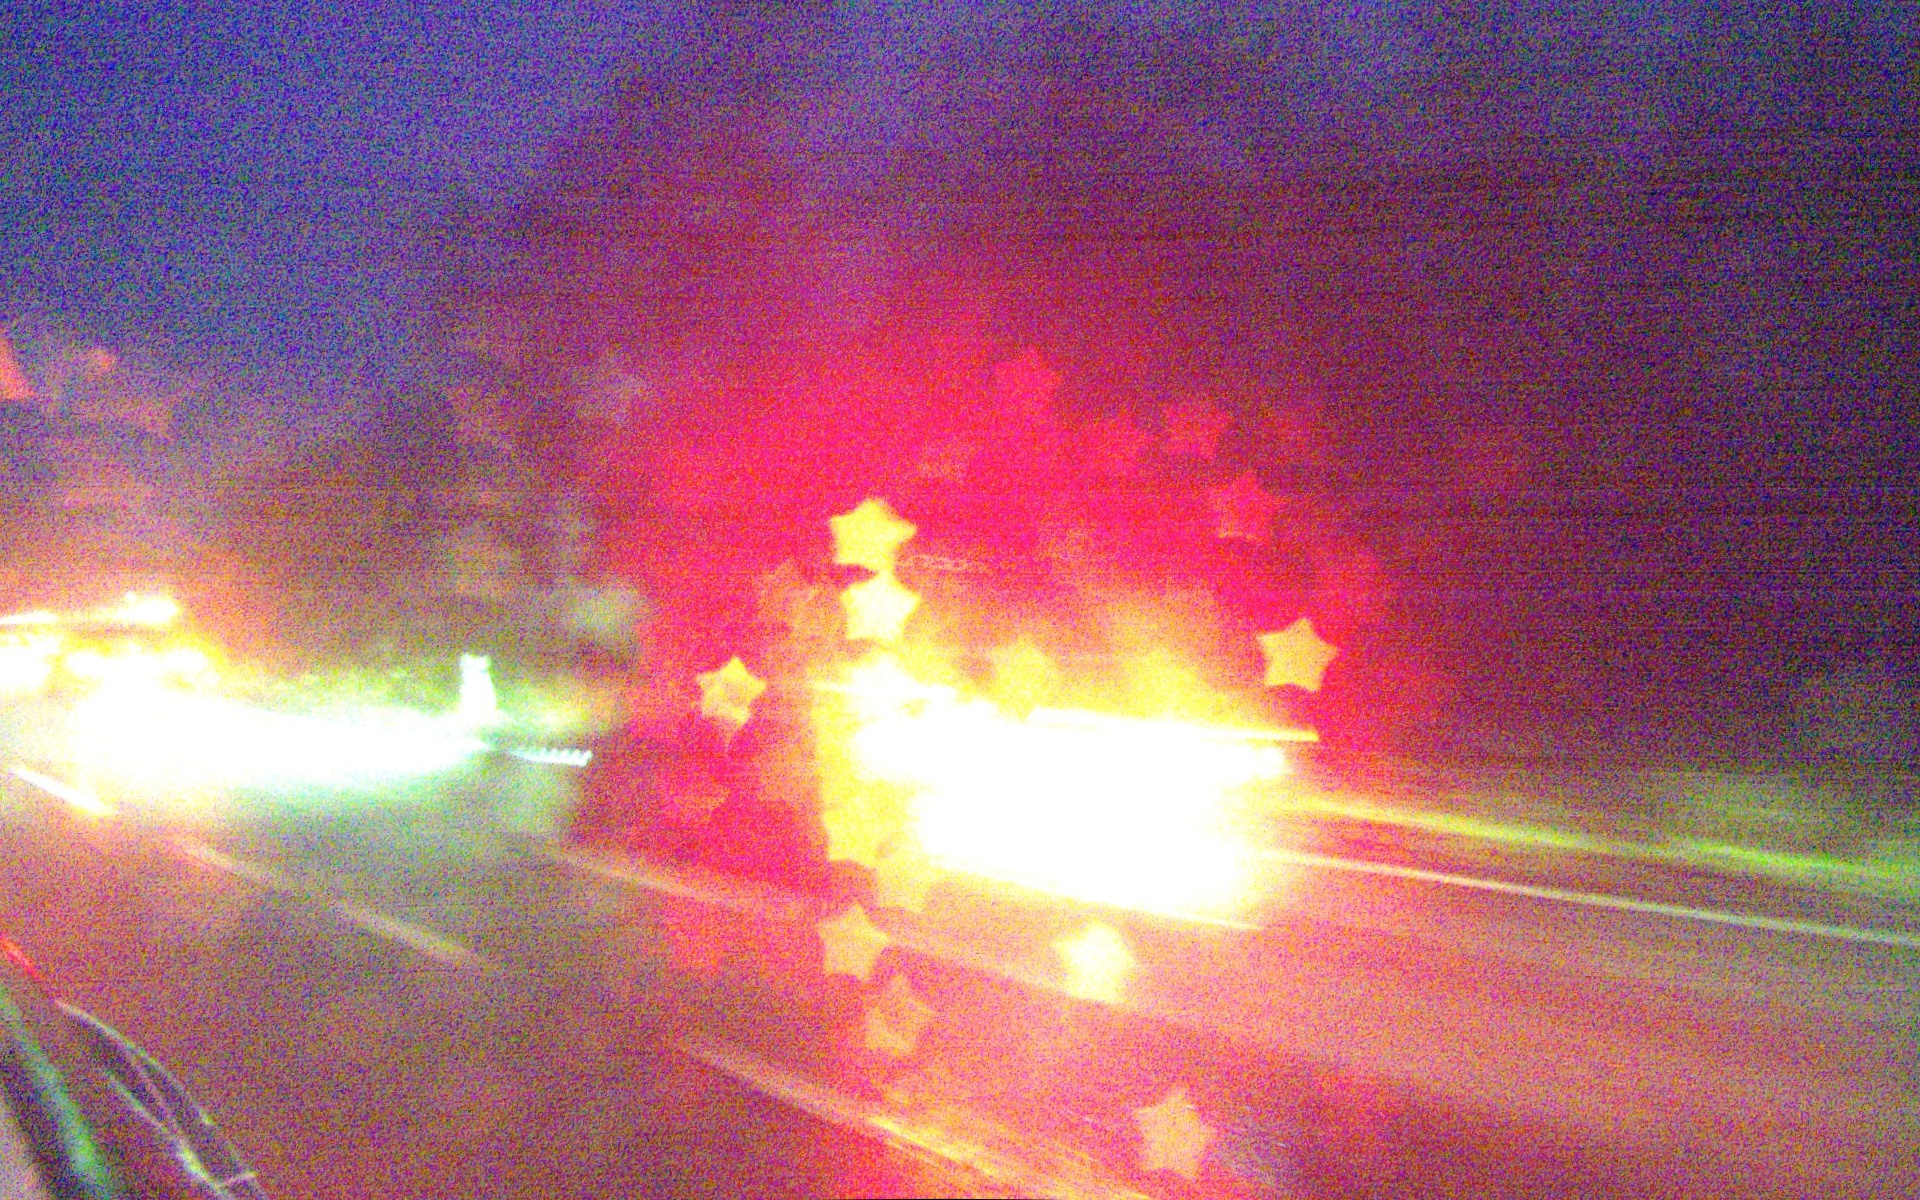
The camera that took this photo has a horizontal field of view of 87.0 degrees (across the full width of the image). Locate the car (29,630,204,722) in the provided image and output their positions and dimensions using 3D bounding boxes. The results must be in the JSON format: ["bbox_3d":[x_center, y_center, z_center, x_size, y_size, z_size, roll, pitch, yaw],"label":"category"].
[{"bbox_3d":[-15.132,1.266,18.077,4.230,1.399,1.753,-1,-1,41],"label":"car"}]

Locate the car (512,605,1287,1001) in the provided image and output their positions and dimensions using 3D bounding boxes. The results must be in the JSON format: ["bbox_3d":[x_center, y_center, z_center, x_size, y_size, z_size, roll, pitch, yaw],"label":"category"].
[{"bbox_3d":[-0.516,0.747,5.498,4.028,1.399,1.755,-1,-1,36],"label":"car"}]

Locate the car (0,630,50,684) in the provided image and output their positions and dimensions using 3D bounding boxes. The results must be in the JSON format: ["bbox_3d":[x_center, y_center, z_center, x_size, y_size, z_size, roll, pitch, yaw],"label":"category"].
[{"bbox_3d":[-26.938,1.573,28.502,1.751,1.399,4.235,0,-1,-44],"label":"car"}]

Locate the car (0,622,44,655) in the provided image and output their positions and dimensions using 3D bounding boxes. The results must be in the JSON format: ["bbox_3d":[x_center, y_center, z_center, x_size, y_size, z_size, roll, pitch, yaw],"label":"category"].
[{"bbox_3d":[-46.061,1.866,49.358,1.748,1.495,4.389,0,-1,-38],"label":"car"}]

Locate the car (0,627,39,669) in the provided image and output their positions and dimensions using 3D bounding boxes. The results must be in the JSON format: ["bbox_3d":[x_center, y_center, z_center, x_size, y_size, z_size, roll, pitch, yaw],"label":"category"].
[{"bbox_3d":[-34.636,1.704,36.572,4.114,1.399,1.751,-1,-1,44],"label":"car"}]
